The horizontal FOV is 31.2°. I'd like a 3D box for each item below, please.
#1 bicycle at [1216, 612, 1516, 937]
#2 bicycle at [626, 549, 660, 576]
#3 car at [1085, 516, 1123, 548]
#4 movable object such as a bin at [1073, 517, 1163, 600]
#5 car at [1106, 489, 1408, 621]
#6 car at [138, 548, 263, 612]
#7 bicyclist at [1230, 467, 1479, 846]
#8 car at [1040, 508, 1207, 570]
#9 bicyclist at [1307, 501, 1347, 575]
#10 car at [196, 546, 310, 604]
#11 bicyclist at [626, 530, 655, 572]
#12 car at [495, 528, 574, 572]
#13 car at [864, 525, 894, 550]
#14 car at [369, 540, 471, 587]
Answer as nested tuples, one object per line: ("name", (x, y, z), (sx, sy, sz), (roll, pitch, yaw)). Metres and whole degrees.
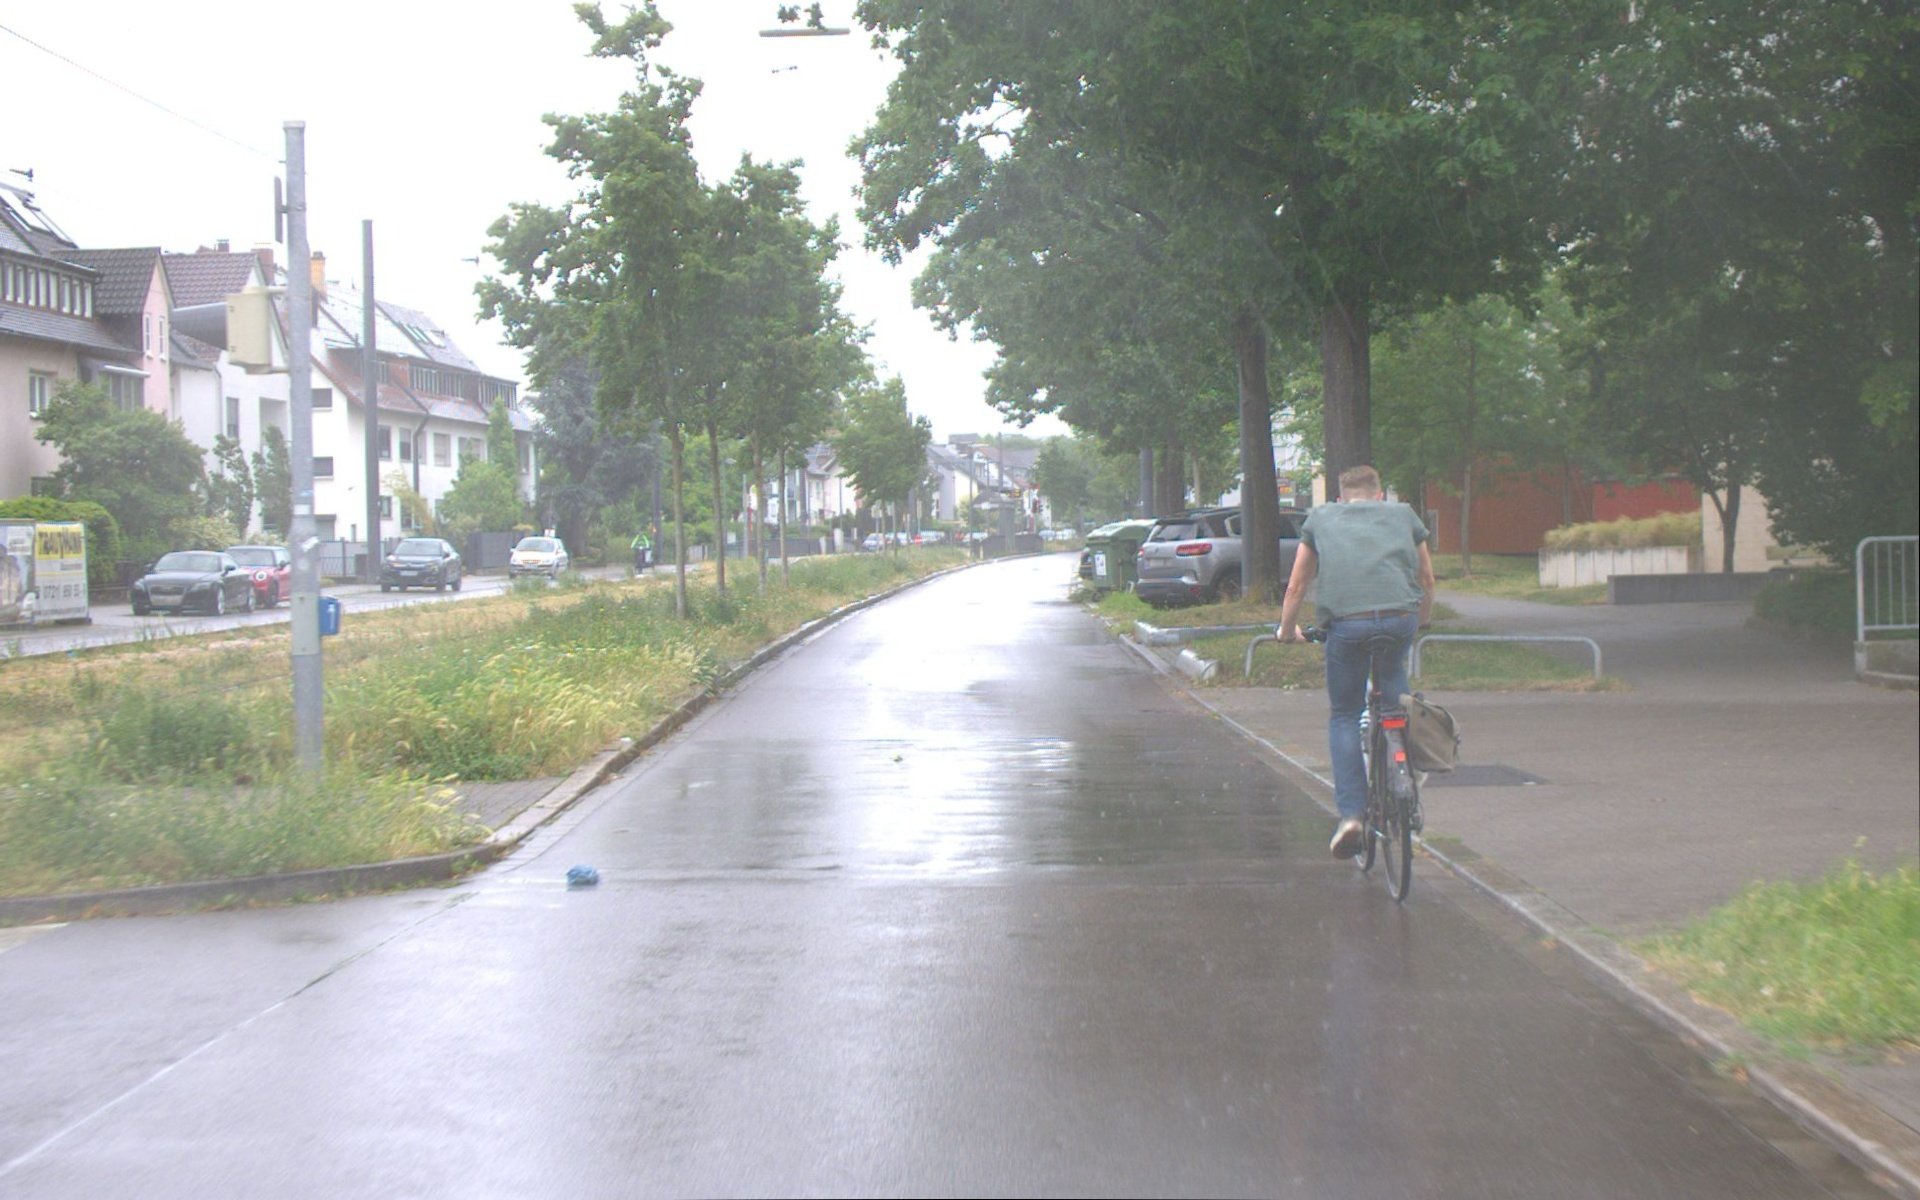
("bicycle", (1.571, 0.639, 13.758), (0.809, 1.093, 2.517), (-2, 1, -2))
("bicycle", (-12.881, -1.520, 139.926), (1.018, 1.024, 3.197), (-1, 1, 1))
("car", (7.259, -3.434, 173.411), (1.833, 1.580, 4.000), (-1, 1, 1))
("movable object such as a bin", (3.031, -0.799, 66.151), (1.125, 1.452, 1.401), (-7, 3, -20))
("car", (4.557, -0.701, 52.584), (4.135, 1.713, 2.000), (-5, 3, -31))
("car", (-16.029, -0.442, 72.733), (1.663, 1.240, 4.071), (1, 1, 1))
("bicyclist", (1.551, 0.205, 13.675), (0.809, 1.428, 1.060), (-2, 1, -1))
("car", (4.119, -1.536, 86.426), (4.028, 1.438, 1.585), (-2, 2, -35))
("bicyclist", (8.037, -1.367, 75.357), (0.734, 1.588, 0.945), (-2, 1, 1))
("car", (-15.992, -0.582, 77.918), (1.674, 1.240, 3.855), (1, 1, 2))
("bicyclist", (-12.909, -1.992, 139.084), (1.018, 1.679, 1.092), (-1, 1, 1))
("car", (-14.938, -1.774, 120.851), (1.897, 1.464, 4.687), (1, 1, 4))
("car", (-5.627, -4.363, 239.945), (1.843, 1.666, 4.000), (-1, 1, 1))
("car", (-15.453, -1.065, 98.631), (1.897, 1.240, 4.687), (1, 1, 4))
